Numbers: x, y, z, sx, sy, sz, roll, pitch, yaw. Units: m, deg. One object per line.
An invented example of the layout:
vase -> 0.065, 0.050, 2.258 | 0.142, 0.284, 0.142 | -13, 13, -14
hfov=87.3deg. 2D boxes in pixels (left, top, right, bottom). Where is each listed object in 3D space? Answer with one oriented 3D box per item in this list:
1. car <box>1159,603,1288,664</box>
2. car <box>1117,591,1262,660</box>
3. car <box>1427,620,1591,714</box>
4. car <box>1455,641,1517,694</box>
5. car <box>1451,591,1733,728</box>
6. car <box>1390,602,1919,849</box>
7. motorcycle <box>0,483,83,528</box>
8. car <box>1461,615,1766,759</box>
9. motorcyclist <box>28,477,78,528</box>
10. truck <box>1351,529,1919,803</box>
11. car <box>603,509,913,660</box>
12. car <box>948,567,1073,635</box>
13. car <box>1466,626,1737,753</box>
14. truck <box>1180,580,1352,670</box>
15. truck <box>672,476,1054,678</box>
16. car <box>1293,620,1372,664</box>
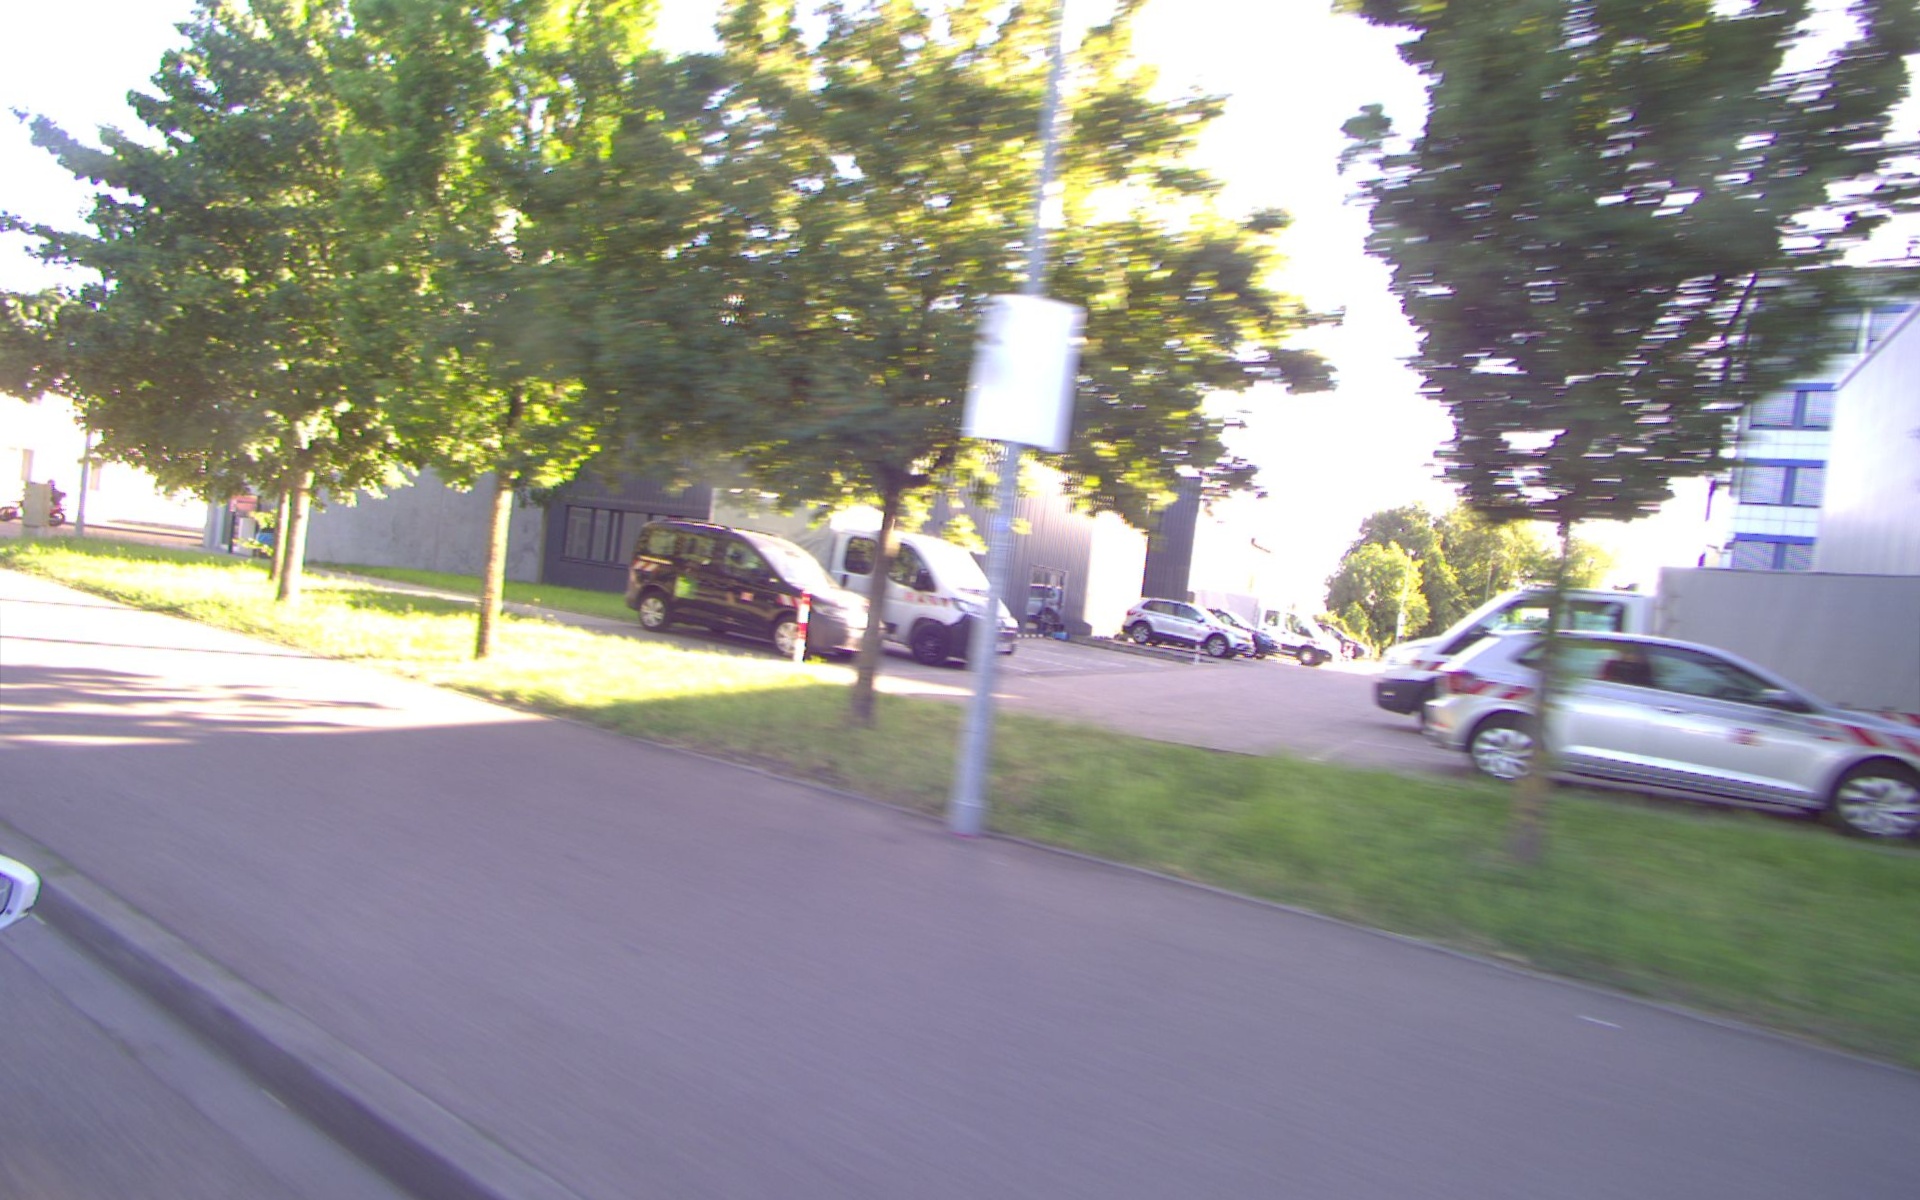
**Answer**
car -> 10.099, 1.248, 38.598 | 4.337, 1.835, 1.836 | 6, 2, 29
car -> 7.789, 0.844, 34.232 | 4.337, 1.835, 1.836 | 6, 2, 29
car -> 16.173, 1.959, 29.707 | 3.934, 2.214, 1.904 | 6, -2, 32
car -> 21.368, 2.786, 41.002 | 1.757, 1.843, 4.001 | 7, -2, 24
car -> 16.313, 1.440, 26.399 | 5.843, 2.785, 1.836 | 6, 2, 30
car -> 6.291, 1.045, 9.006 | 4.206, 1.483, 1.840 | 6, -2, 29
motorcycle -> -32.274, -3.292, 35.267 | 0.945, 1.200, 2.035 | 8, 0, 25
car -> 11.419, 1.438, 17.955 | 4.206, 1.898, 1.836 | 6, 2, 29
motorcyclist -> -32.089, -3.442, 35.595 | 1.012, 1.573, 0.897 | 10, 2, 27
truck -> 8.896, 0.742, 13.452 | 6.295, 2.708, 2.286 | 6, -2, 32
car -> -3.297, -0.262, 16.271 | 4.584, 1.835, 1.841 | 6, -2, 27
car -> 1.809, 0.035, 36.438 | 3.934, 1.940, 1.861 | 6, -2, 32
car -> 12.582, 1.678, 20.061 | 4.206, 1.867, 1.836 | 6, 2, 29
truck -> 13.070, 1.045, 43.065 | 6.423, 2.981, 2.437 | 6, -2, 29
truck -> -1.916, -0.488, 18.915 | 6.631, 2.871, 2.365 | 7, -1, 27
car -> 21.637, 2.424, 58.391 | 3.865, 2.037, 1.817 | 6, -2, 30
